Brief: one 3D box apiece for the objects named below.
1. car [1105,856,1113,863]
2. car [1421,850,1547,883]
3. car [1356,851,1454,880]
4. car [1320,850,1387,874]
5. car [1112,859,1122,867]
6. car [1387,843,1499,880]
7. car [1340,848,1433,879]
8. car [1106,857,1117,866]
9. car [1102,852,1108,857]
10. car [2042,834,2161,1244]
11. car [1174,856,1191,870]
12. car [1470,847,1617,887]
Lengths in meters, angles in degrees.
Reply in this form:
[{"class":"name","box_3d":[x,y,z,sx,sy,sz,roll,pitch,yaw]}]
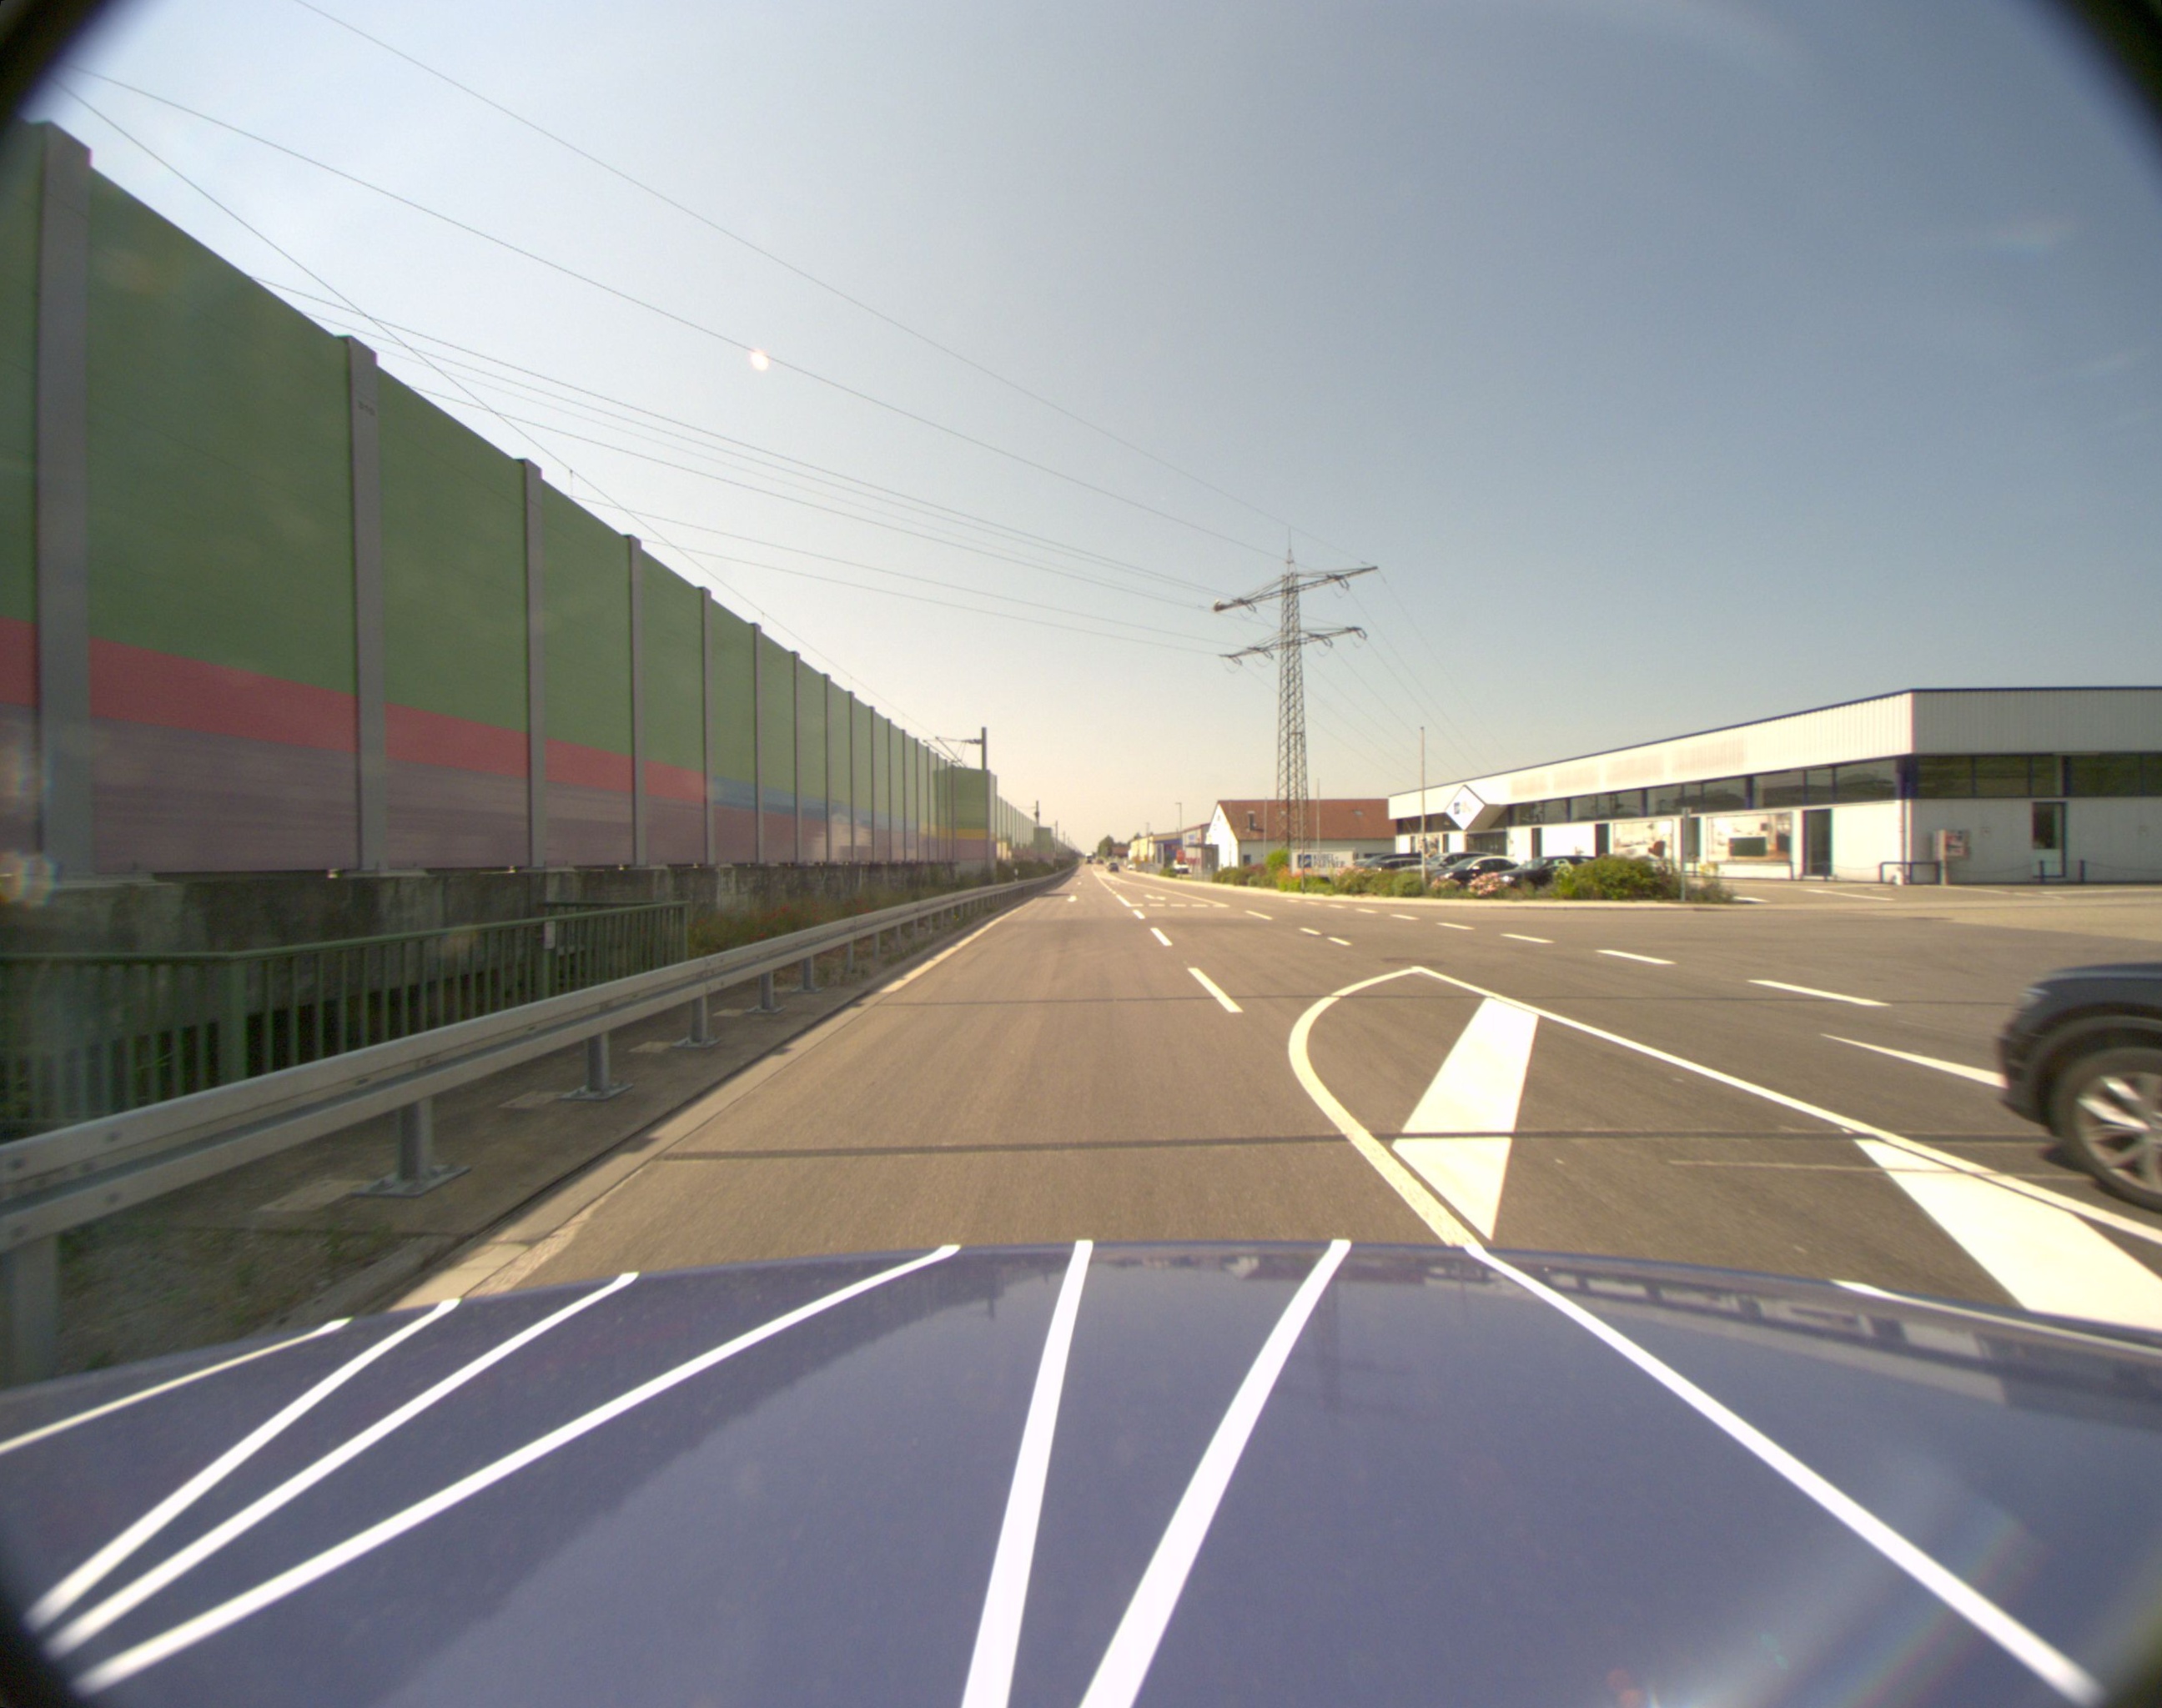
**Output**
[{"class":"car","box_3d":[6.595,1.366,179.858,1.773,1.493,4.164,-1,-1,3]},{"class":"car","box_3d":[16.568,0.503,31.353,4.235,1.307,1.833,0,0,-3]},{"class":"car","box_3d":[16.035,0.561,37.729,3.999,1.405,1.999,0,0,-7]},{"class":"car","box_3d":[16.702,0.474,46.635,3.518,1.247,1.504,-3,0,-1]},{"class":"car","box_3d":[6.690,1.623,141.870,1.675,1.414,4.000,1,0,0]},{"class":"car","box_3d":[16.368,0.336,34.458,4.235,1.638,1.833,0,0,-3]},{"class":"car","box_3d":[16.314,0.511,40.706,4.235,1.586,1.833,0,0,-3]},{"class":"car","box_3d":[6.421,1.571,161.024,1.999,1.863,5.169,0,0,0]},{"class":"car","box_3d":[8.418,0.206,264.645,1.886,1.607,4.523,2,0,2]},{"class":"car","box_3d":[5.269,0.764,1.287,1.882,1.663,4.290,0,0,2]},{"class":"car","box_3d":[14.967,1.341,112.333,1.998,2.002,4.680,0,1,2]},{"class":"car","box_3d":[16.555,0.456,27.314,4.235,1.386,1.833,0,0,-3]}]
